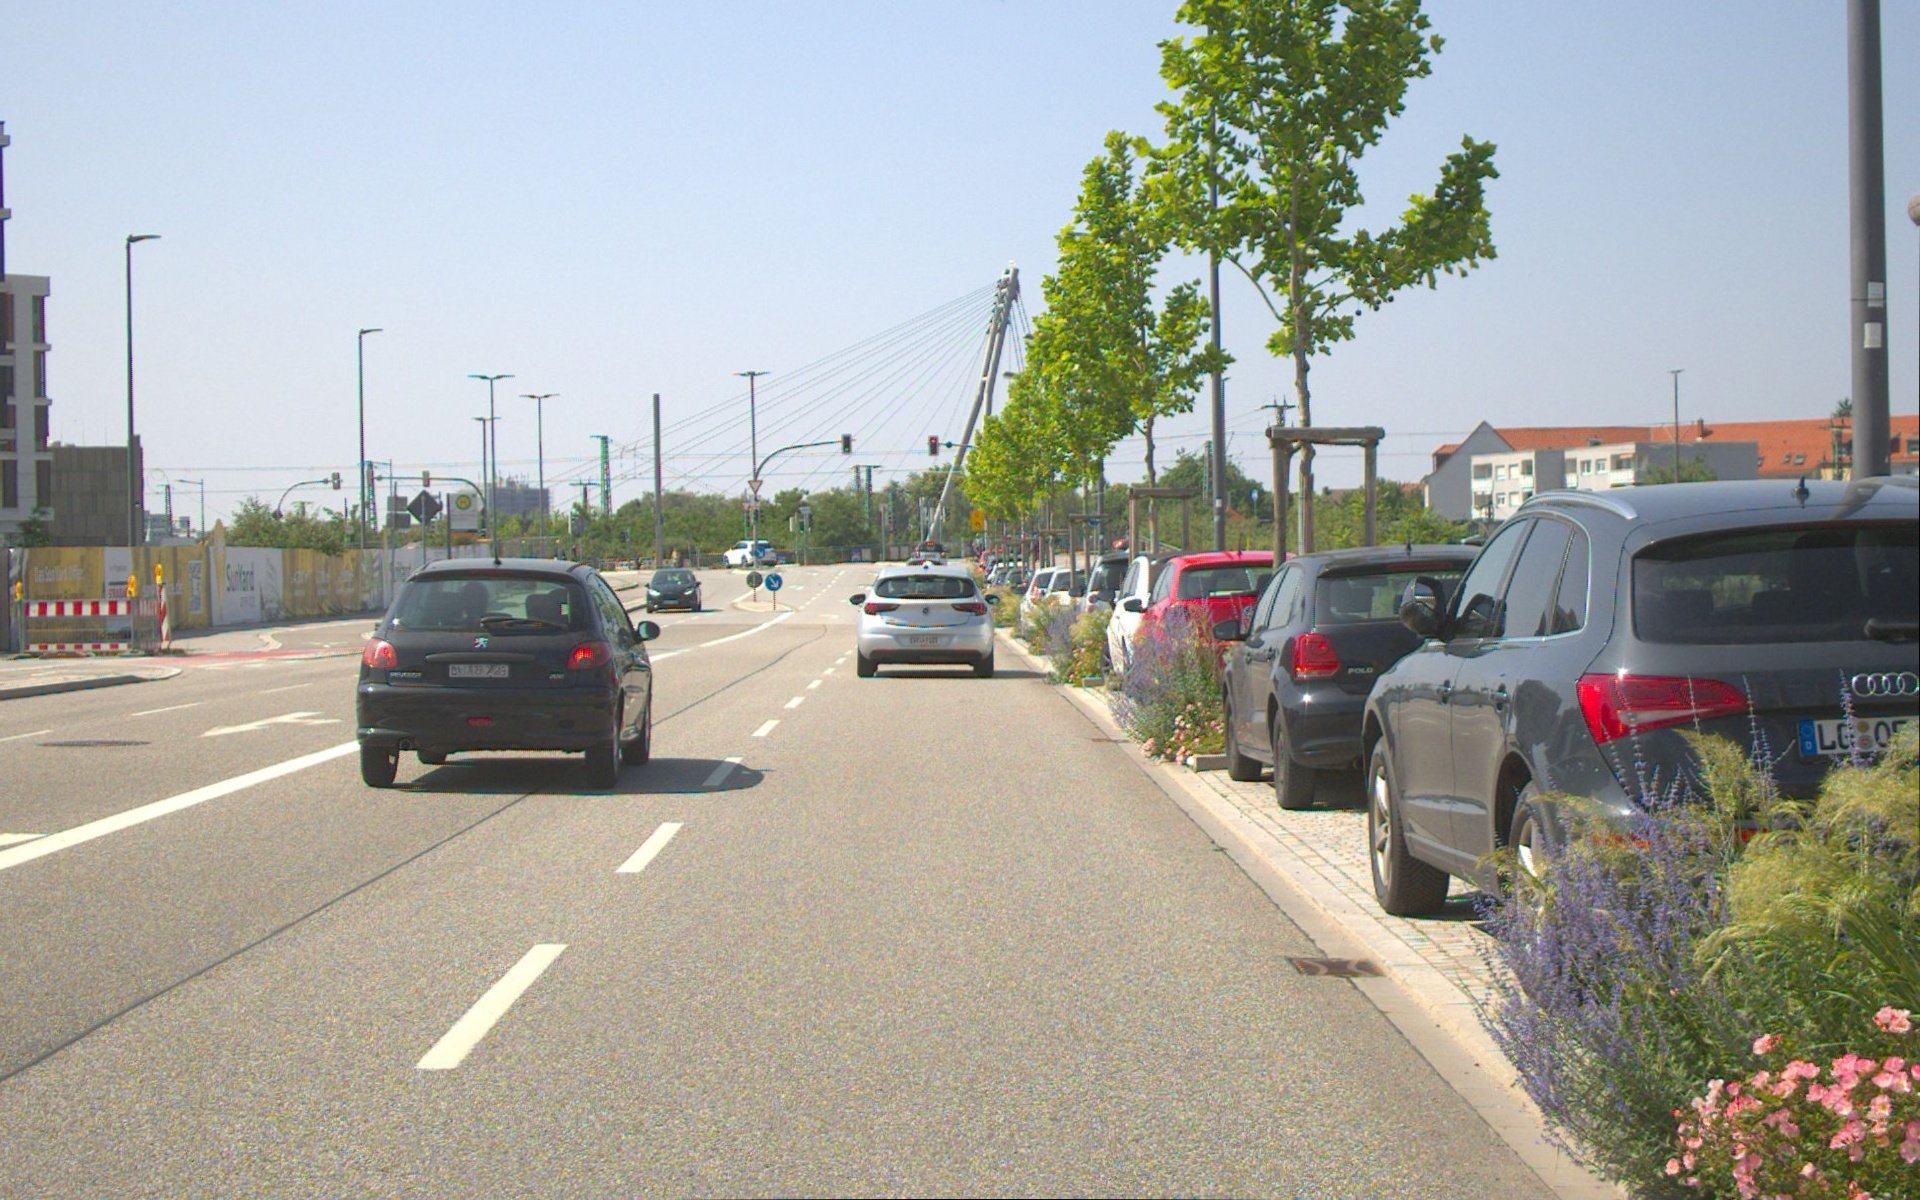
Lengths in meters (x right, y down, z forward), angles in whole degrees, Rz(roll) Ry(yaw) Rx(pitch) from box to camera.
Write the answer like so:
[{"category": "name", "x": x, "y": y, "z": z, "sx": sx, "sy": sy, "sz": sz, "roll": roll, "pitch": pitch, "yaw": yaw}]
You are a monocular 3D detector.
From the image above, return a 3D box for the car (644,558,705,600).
[{"category": "car", "x": -9.636, "y": -0.725, "z": 116.322, "sx": 1.704, "sy": 1.347, "sz": 4.456, "roll": -1, "pitch": 0, "yaw": -1}]

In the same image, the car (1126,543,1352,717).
[{"category": "car", "x": 2.541, "y": 0.231, "z": 32.111, "sx": 1.717, "sy": 1.446, "sz": 4.001, "roll": 1, "pitch": 2, "yaw": -1}]

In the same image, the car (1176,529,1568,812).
[{"category": "car", "x": 2.313, "y": 0.329, "z": 20.311, "sx": 1.633, "sy": 1.424, "sz": 4.241, "roll": -3, "pitch": 1, "yaw": -2}]

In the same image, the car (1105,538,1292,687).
[{"category": "car", "x": 2.522, "y": 0.096, "z": 37.054, "sx": 1.717, "sy": 1.519, "sz": 3.643, "roll": -1, "pitch": 1, "yaw": -1}]

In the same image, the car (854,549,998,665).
[{"category": "car", "x": -0.409, "y": 0.061, "z": 45.618, "sx": 1.778, "sy": 1.437, "sz": 4.000, "roll": -1, "pitch": 1, "yaw": 1}]

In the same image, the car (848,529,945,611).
[{"category": "car", "x": -1.245, "y": -0.578, "z": 68.710, "sx": 1.778, "sy": 1.563, "sz": 4.000, "roll": 1, "pitch": 0, "yaw": 1}]

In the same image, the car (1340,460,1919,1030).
[{"category": "car", "x": 2.524, "y": 0.367, "z": 12.055, "sx": 1.734, "sy": 1.603, "sz": 4.241, "roll": -2, "pitch": 1, "yaw": -2}]

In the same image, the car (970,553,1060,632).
[{"category": "car", "x": 1.118, "y": -0.173, "z": 69.407, "sx": 1.746, "sy": 1.504, "sz": 4.001, "roll": -1, "pitch": 1, "yaw": 1}]

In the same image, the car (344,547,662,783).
[{"category": "car", "x": -2.947, "y": 0.365, "z": 22.804, "sx": 1.619, "sy": 1.411, "sz": 3.727, "roll": -1, "pitch": 1, "yaw": 0}]

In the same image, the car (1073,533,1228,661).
[{"category": "car", "x": 2.473, "y": -0.067, "z": 45.087, "sx": 1.908, "sy": 1.572, "sz": 4.157, "roll": -1, "pitch": 1, "yaw": 3}]

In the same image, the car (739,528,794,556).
[{"category": "car", "x": -11.555, "y": -3.469, "z": 204.905, "sx": 1.854, "sy": 1.644, "sz": 4.001, "roll": 0, "pitch": 1, "yaw": -26}]

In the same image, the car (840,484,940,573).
[{"category": "car", "x": -1.418, "y": -1.443, "z": 70.696, "sx": 1.793, "sy": 1.744, "sz": 4.000, "roll": 1, "pitch": 0, "yaw": 2}]
